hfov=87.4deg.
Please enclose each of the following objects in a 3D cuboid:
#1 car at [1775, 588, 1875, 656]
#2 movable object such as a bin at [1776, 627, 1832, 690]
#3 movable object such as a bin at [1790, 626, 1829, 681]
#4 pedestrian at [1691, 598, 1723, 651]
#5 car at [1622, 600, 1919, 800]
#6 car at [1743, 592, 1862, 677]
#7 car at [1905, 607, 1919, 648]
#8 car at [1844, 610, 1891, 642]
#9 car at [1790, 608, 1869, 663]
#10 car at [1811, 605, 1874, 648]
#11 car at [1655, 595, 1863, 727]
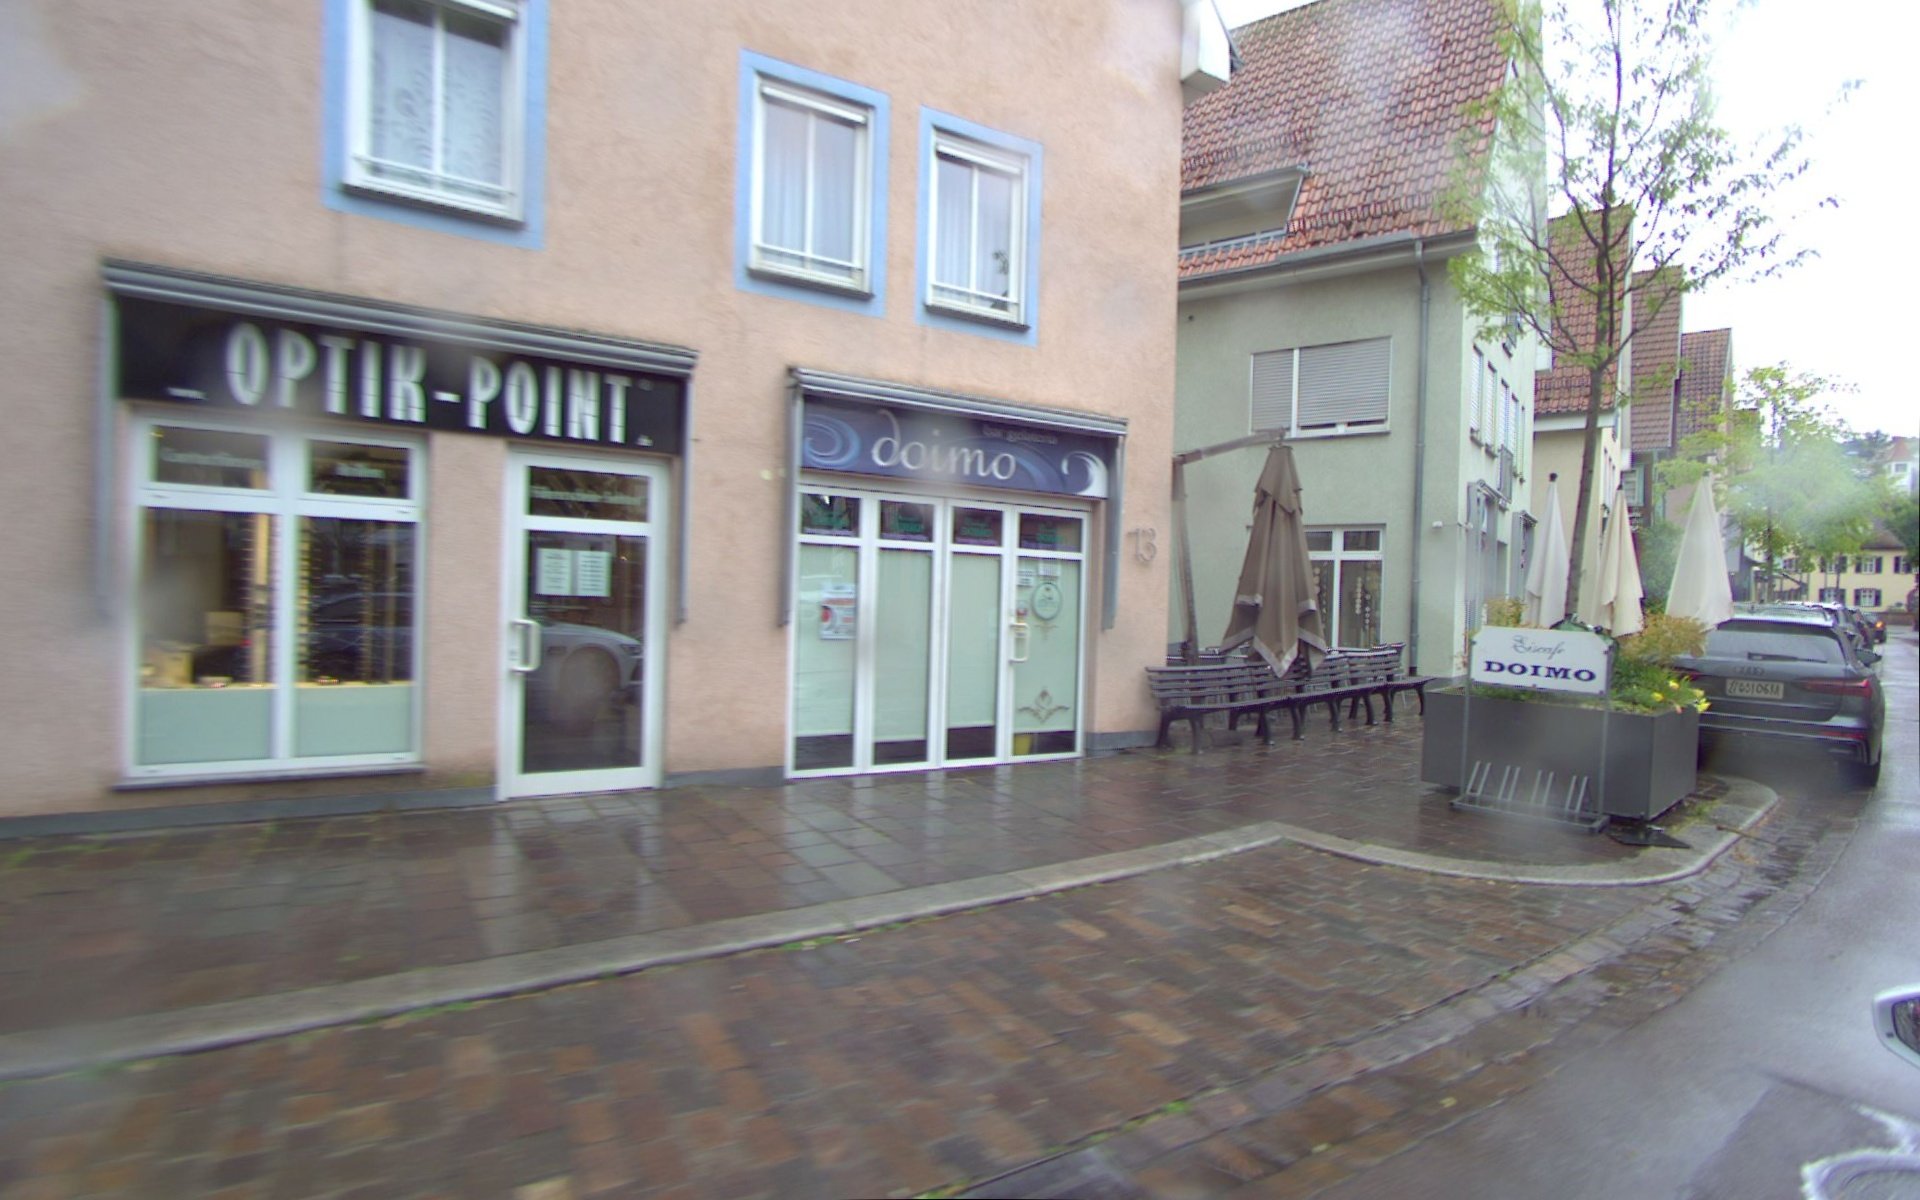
[{"bbox_3d":[24.205,0.643,28.041,1.805,1.688,4.615,3,0,44],"label":"car"},{"bbox_3d":[15.550,1.072,18.509,0.737,1.097,0.741,3,0,41],"label":"movable object such as a bin"},{"bbox_3d":[17.099,1.076,20.223,0.545,1.060,0.532,3,0,39],"label":"movable object such as a bin"},{"bbox_3d":[24.976,0.813,33.613,0.778,1.704,1.173,3,0,36],"label":"pedestrian"},{"bbox_3d":[7.974,0.768,9.890,1.840,1.461,4.596,2,1,41],"label":"car"},{"bbox_3d":[19.257,0.789,22.880,1.804,1.688,4.616,3,0,43],"label":"car"},{"bbox_3d":[45.186,1.355,46.304,1.969,1.823,3.983,3,0,39],"label":"car"},{"bbox_3d":[46.859,1.318,51.860,1.674,1.463,3.861,3,2,44],"label":"car"},{"bbox_3d":[28.266,1.101,32.642,1.760,1.559,4.267,4,3,42],"label":"car"},{"bbox_3d":[35.594,1.022,40.471,1.674,1.559,4.095,3,2,44],"label":"car"},{"bbox_3d":[11.698,0.778,14.593,1.843,1.545,4.300,4,2,45],"label":"car"}]
